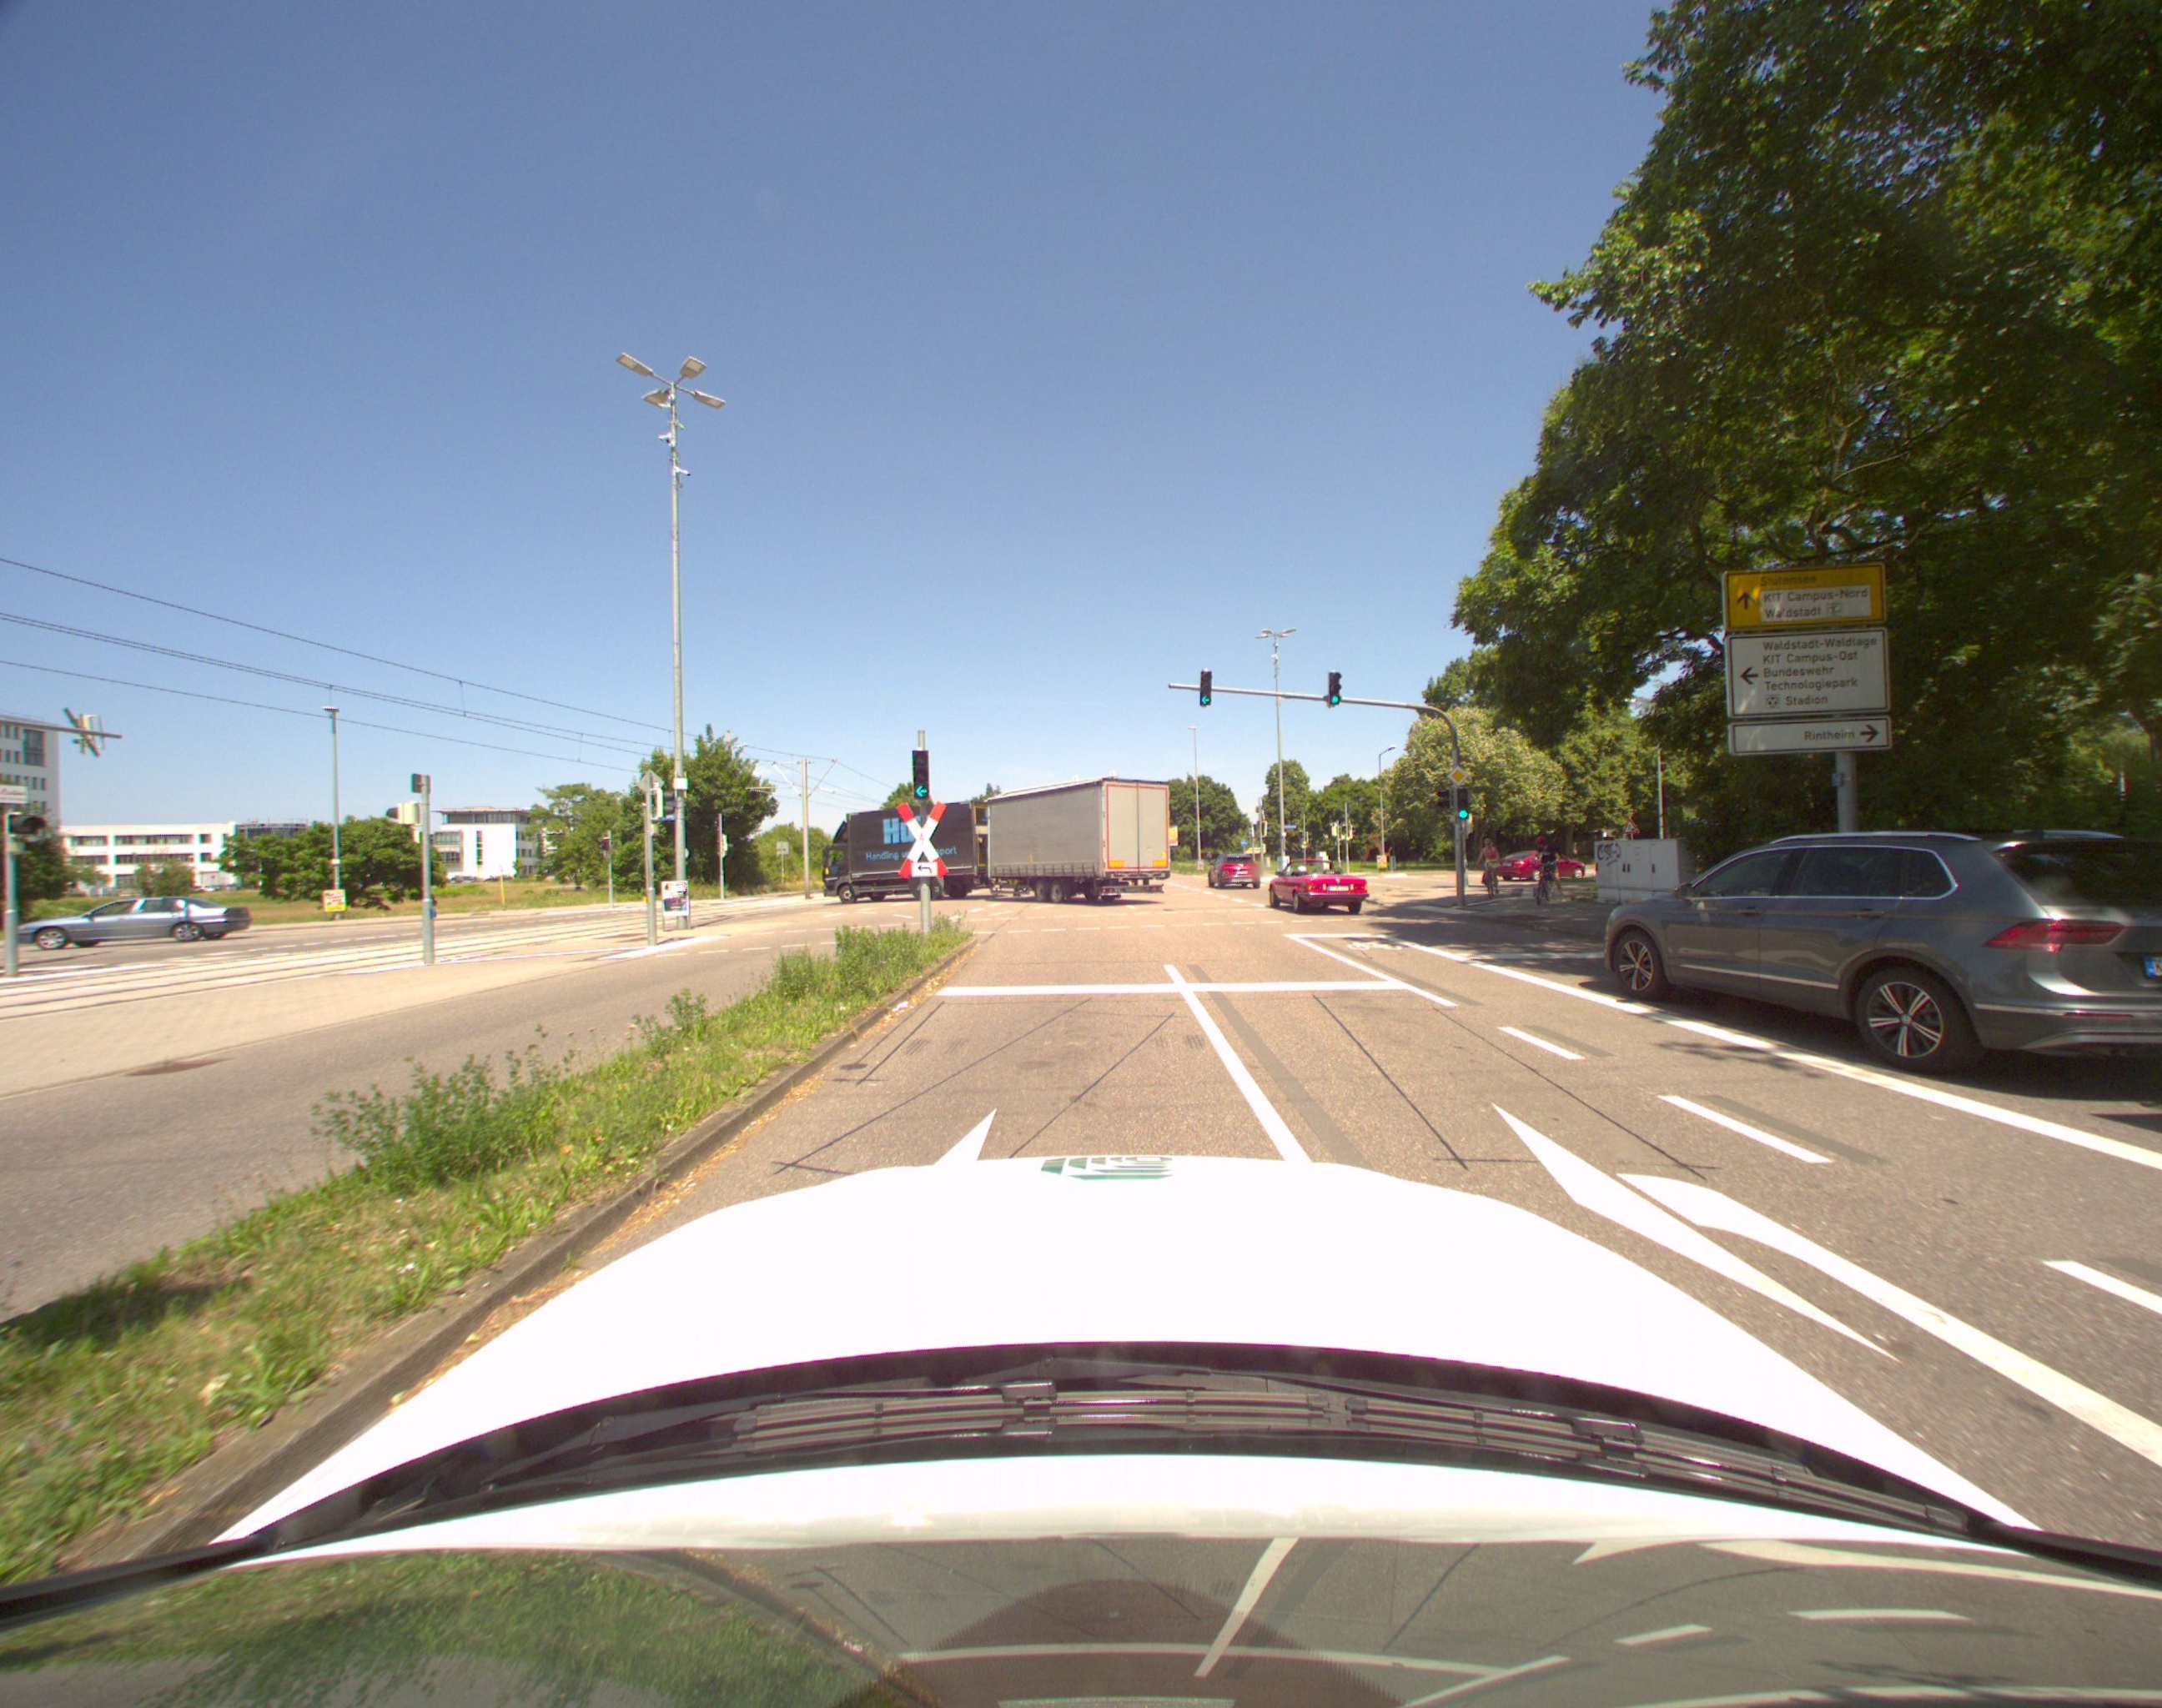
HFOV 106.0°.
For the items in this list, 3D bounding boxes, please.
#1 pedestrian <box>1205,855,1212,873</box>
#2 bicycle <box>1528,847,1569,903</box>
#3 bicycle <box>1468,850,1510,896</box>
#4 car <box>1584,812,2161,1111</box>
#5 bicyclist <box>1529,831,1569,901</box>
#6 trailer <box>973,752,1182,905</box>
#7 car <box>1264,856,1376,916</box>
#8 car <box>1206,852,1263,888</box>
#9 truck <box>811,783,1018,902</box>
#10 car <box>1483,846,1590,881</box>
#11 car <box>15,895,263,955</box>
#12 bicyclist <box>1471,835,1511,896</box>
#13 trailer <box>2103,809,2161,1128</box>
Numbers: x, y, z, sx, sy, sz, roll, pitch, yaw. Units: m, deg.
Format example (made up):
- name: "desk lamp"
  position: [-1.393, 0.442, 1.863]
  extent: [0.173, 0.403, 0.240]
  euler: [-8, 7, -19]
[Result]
- name: "pedestrian"
  position: [14.198, 1.074, 90.588]
  extent: [0.740, 2.013, 0.613]
  euler: [0, 0, 1]
- name: "bicycle"
  position: [11.706, 0.514, 20.369]
  extent: [0.717, 1.295, 1.313]
  euler: [-5, -1, 34]
- name: "bicycle"
  position: [12.091, 0.544, 24.173]
  extent: [0.640, 1.304, 1.631]
  euler: [-4, -1, 12]
- name: "car"
  position: [6.367, 0.593, 6.734]
  extent: [1.694, 1.654, 4.397]
  euler: [0, 0, 0]
- name: "bicyclist"
  position: [11.700, 0.293, 20.358]
  extent: [0.717, 1.703, 0.683]
  euler: [-5, -1, 34]
- name: "trailer"
  position: [-0.484, -0.647, 27.888]
  extent: [2.847, 4.422, 8.657]
  euler: [0, -1, -33]
- name: "car"
  position: [6.113, 0.759, 21.303]
  extent: [1.649, 1.396, 4.266]
  euler: [0, 0, 0]
- name: "car"
  position: [6.928, 0.683, 37.170]
  extent: [1.852, 1.549, 3.886]
  euler: [0, 0, 0]
- name: "truck"
  position: [-6.960, -0.317, 33.709]
  extent: [8.180, 4.345, 2.853]
  euler: [-3, -2, 26]
- name: "car"
  position: [22.266, 0.447, 39.835]
  extent: [4.498, 1.503, 1.988]
  euler: [-2, 0, -17]
- name: "car"
  position: [-28.060, 2.070, 24.498]
  extent: [4.441, 1.371, 1.881]
  euler: [-2, 1, -28]
- name: "bicyclist"
  position: [12.071, 0.325, 23.979]
  extent: [0.797, 1.727, 0.681]
  euler: [-4, -1, 11]
- name: "trailer"
  position: [6.378, 0.593, 3.074]
  extent: [1.464, 1.669, 2.855]
  euler: [0, 0, -1]
